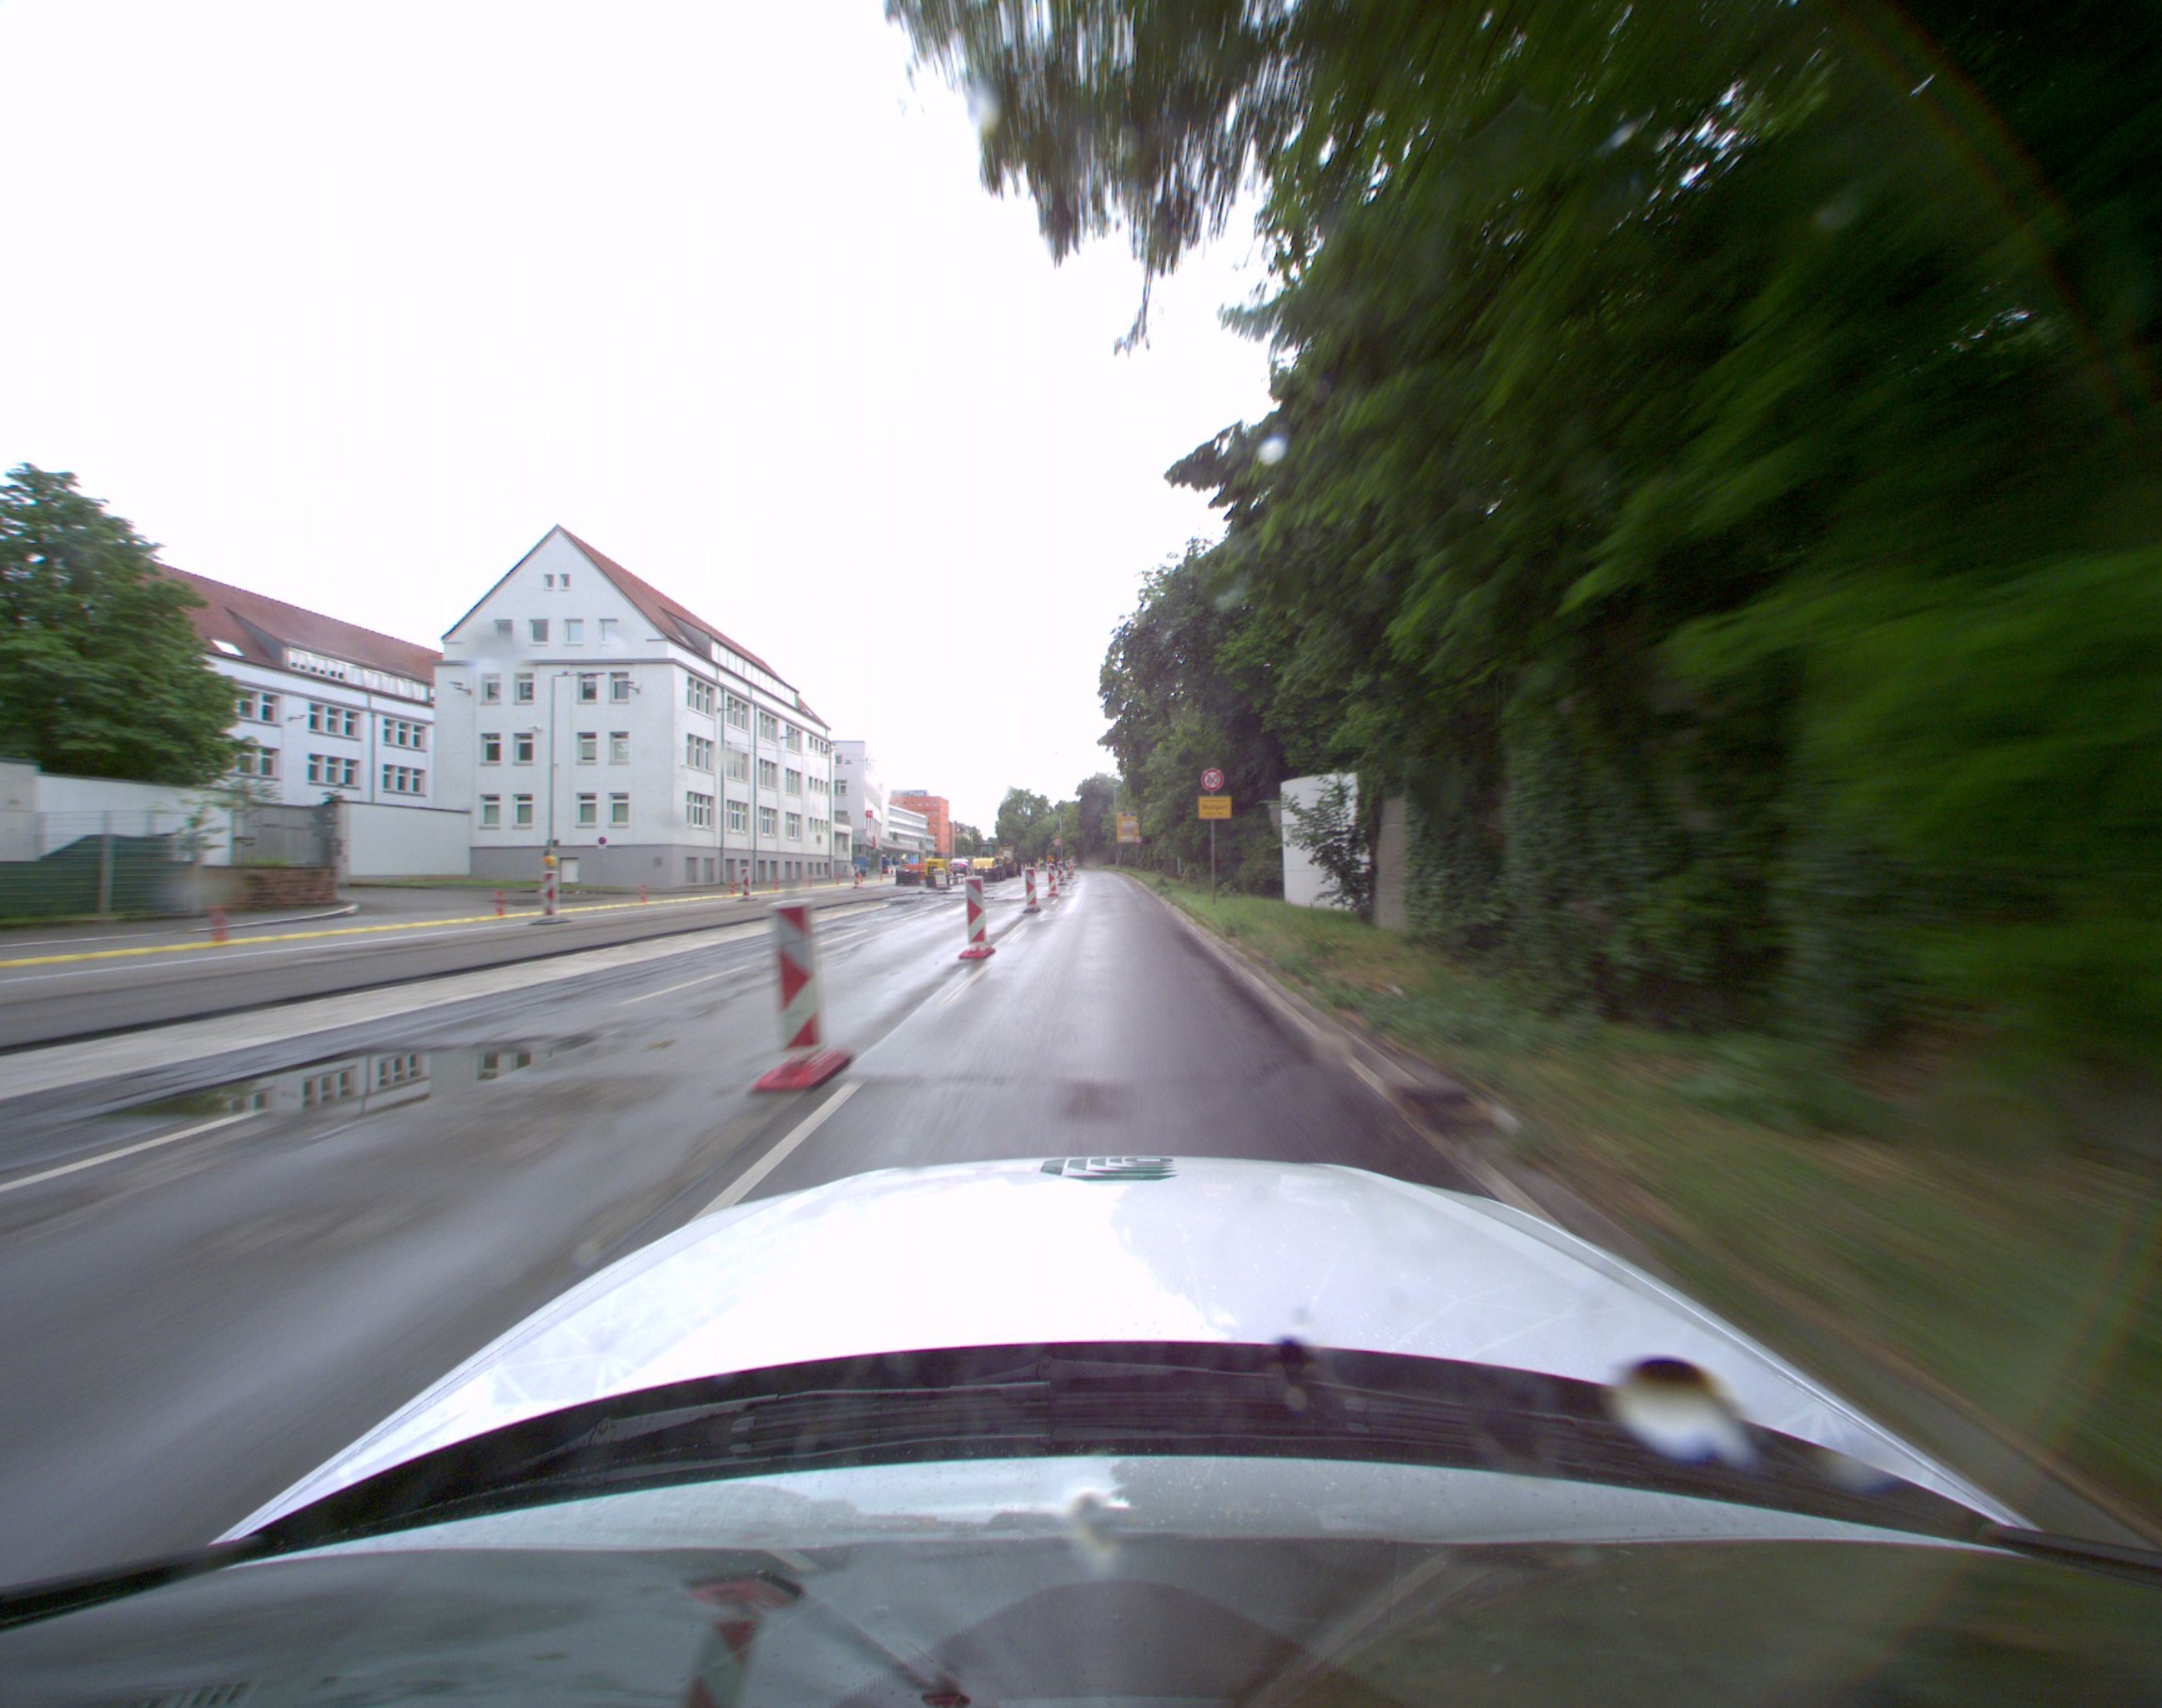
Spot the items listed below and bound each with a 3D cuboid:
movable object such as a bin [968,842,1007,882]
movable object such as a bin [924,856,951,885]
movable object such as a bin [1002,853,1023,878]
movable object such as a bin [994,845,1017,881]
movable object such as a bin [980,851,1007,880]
[{"bbox_3d":[-6.466,0.557,56.888,1.895,2.609,5.384,-1,0,1],"label":"movable object such as a bin"},{"bbox_3d":[-8.521,0.951,48.450,1.079,1.644,2.439,-1,-1,1],"label":"movable object such as a bin"},{"bbox_3d":[-6.367,1.074,75.999,1.711,2.150,3.347,-3,0,-2],"label":"movable object such as a bin"},{"bbox_3d":[-6.550,0.798,71.018,1.461,3.008,3.723,-3,0,0],"label":"movable object such as a bin"},{"bbox_3d":[-6.670,0.825,62.322,1.357,2.090,5.031,-1,0,1],"label":"movable object such as a bin"}]
